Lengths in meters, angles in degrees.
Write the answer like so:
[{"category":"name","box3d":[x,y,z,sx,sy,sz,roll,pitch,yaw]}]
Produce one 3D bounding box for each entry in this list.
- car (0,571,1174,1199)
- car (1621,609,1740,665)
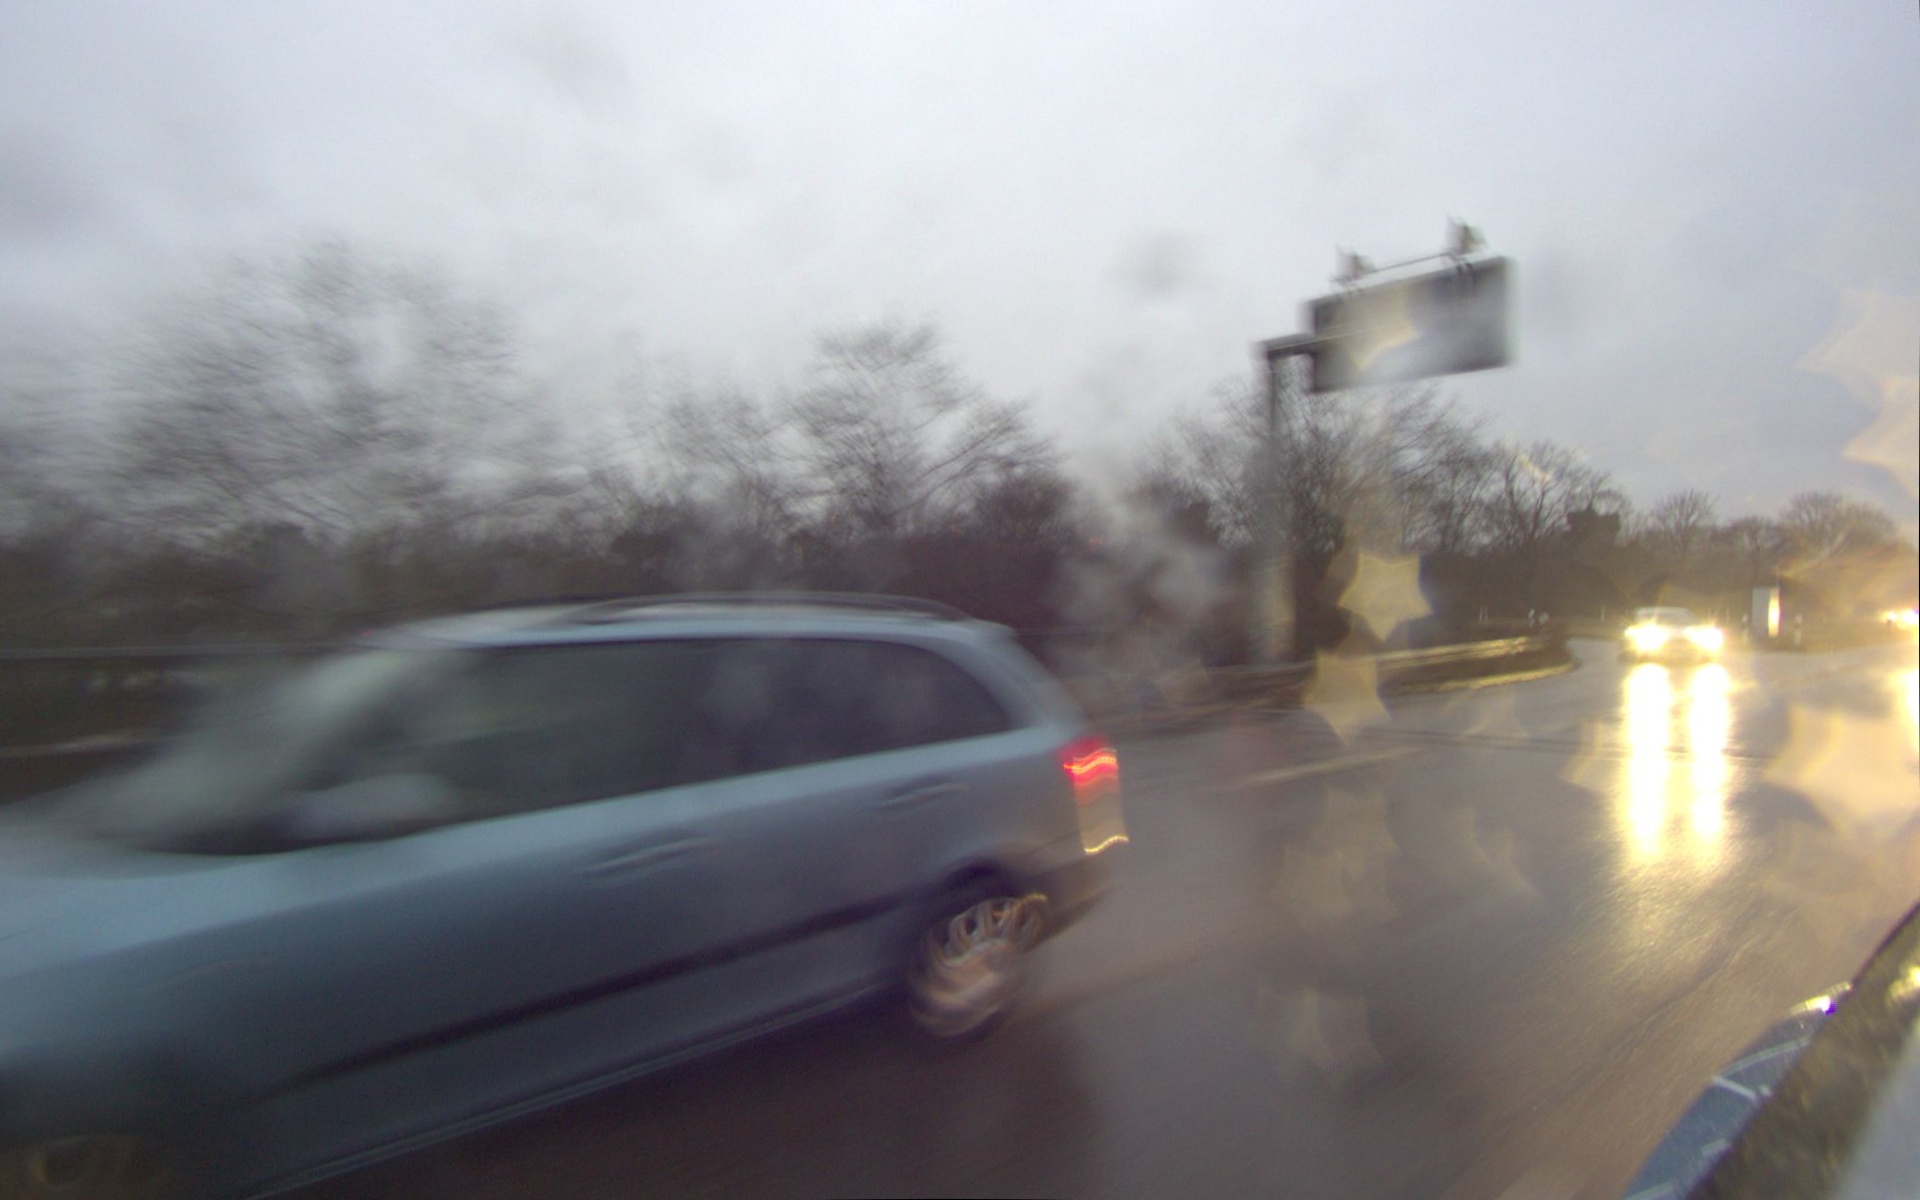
[{"category":"car","box3d":[-1.343,0.683,3.443,4.064,1.519,1.997,0,1,-40]},{"category":"car","box3d":[20.066,0.974,28.385,1.915,1.376,4.359,0,0,25]}]
